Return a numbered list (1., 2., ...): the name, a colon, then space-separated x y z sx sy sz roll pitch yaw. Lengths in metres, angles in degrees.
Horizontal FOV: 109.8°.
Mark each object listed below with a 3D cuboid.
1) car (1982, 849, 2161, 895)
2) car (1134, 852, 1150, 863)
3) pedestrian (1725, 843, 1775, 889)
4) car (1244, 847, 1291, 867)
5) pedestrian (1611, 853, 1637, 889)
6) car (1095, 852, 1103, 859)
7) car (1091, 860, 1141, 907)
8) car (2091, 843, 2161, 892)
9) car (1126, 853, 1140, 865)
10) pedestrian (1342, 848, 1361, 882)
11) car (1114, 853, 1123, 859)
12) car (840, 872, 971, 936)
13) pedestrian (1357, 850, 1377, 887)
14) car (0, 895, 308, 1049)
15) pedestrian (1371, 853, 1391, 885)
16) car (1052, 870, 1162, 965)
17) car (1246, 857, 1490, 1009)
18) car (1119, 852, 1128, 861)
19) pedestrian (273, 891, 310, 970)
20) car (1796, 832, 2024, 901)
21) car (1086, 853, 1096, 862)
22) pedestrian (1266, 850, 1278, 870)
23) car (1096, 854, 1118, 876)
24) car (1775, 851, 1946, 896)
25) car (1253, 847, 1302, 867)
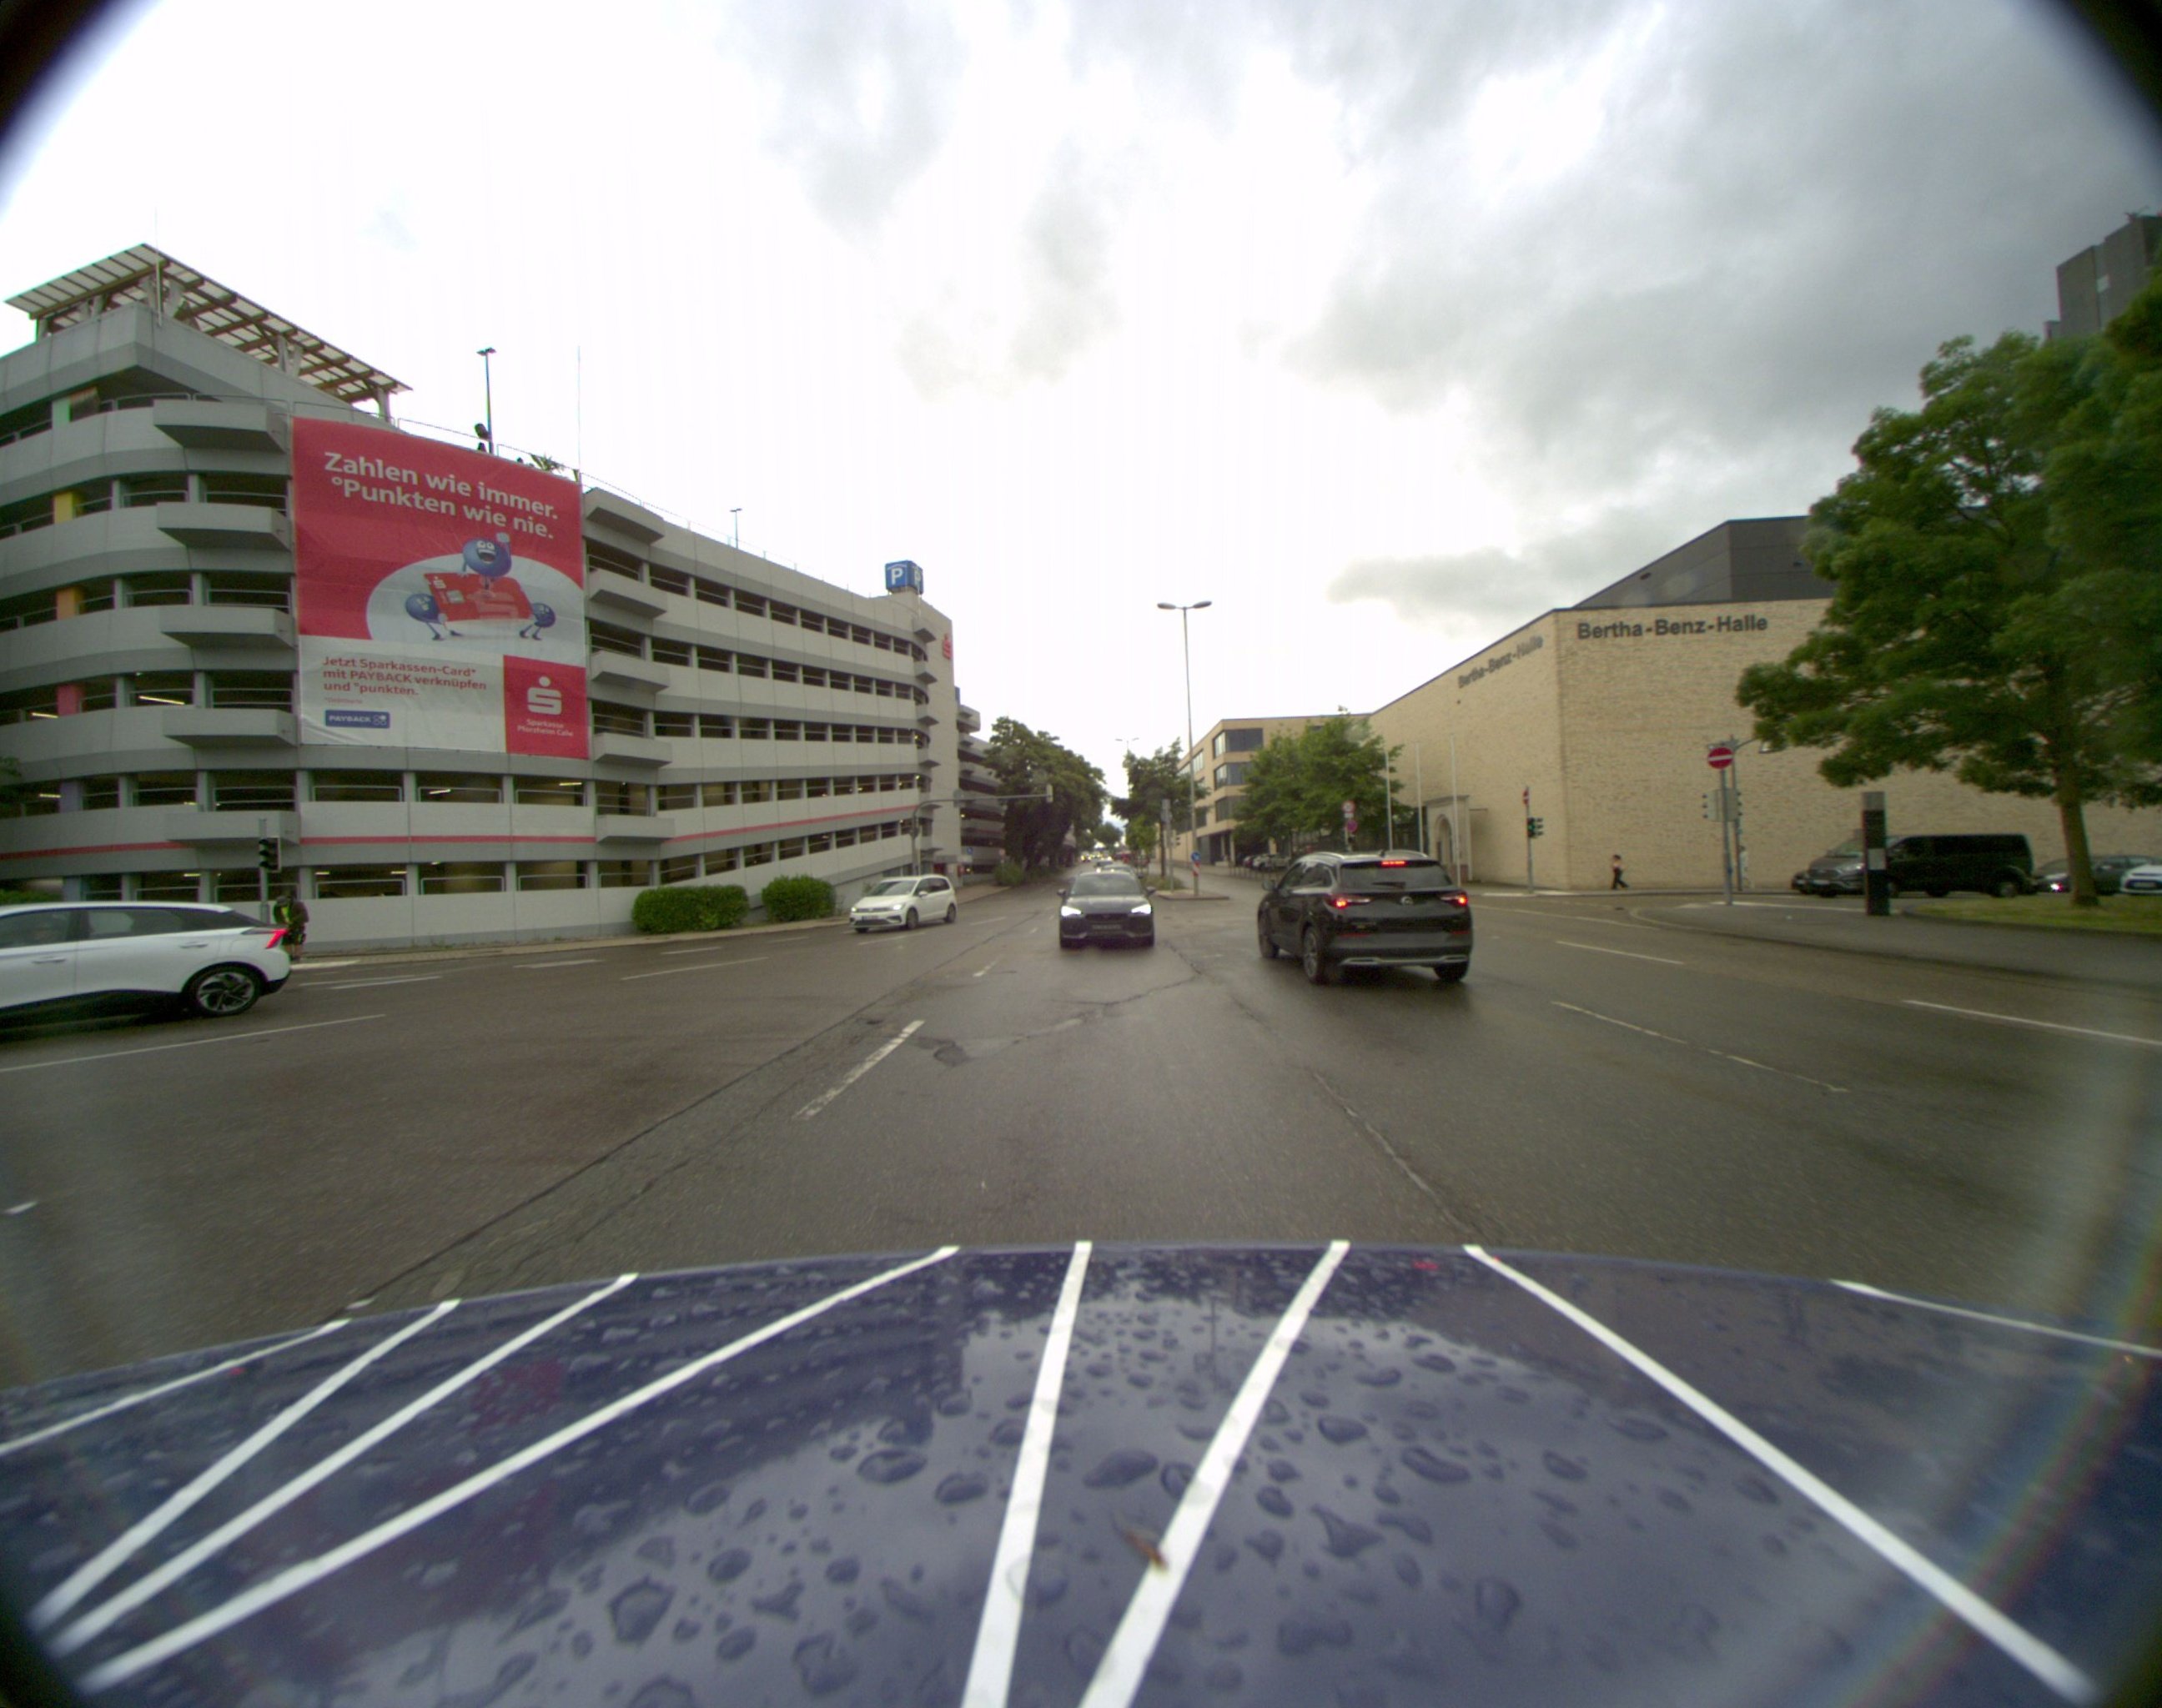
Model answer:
1. car: 34.096 0.601 26.046 3.997 1.449 2.000 1 0 0
2. car: 8.064 0.467 101.024 1.675 1.461 4.300 0 0 -1
3. pedestrian: 25.887 0.472 29.421 1.113 1.690 0.807 -4 0 -1
4. car: 17.741 0.248 72.398 3.995 1.575 2.001 -4 0 5
5. pedestrian: 21.417 0.678 29.970 0.622 1.368 0.475 -4 0 2
6. car: 4.811 0.327 200.665 1.998 1.716 4.401 -2 -1 1
7. car: 1.382 1.167 31.326 1.846 1.646 4.000 -4 0 1
8. car: 33.661 0.433 22.801 3.997 1.449 2.000 1 0 0
9. car: 8.205 0.848 121.119 1.855 1.841 4.300 0 0 -1
10. pedestrian: 14.025 0.580 39.455 0.595 1.721 0.692 -4 0 -4
11. car: 9.187 0.545 187.361 2.028 1.598 4.300 0 0 -1
12. car: -5.317 1.481 23.734 1.996 1.716 4.406 -2 -1 17
13. pedestrian: 13.798 0.701 36.649 0.595 1.761 0.692 -4 0 0
14. car: -11.980 1.366 8.517 1.802 1.468 4.216 -5 -2 25
15. pedestrian: 15.030 0.744 38.090 0.595 1.507 0.692 -4 0 0
16. car: 0.369 1.107 14.916 1.739 1.380 4.582 -4 0 -2
17. car: 3.590 0.874 10.431 1.812 1.585 4.296 -2 0 2
18. car: 8.456 0.523 151.525 1.675 1.598 4.300 0 0 -1
19. pedestrian: -19.447 1.861 18.727 0.546 1.879 0.506 1 -1 -39
20. car: 24.941 0.373 22.984 4.789 1.914 2.000 1 0 -2
21. car: 2.081 0.764 160.473 1.998 1.716 4.401 -2 -1 1
22. pedestrian: 16.556 0.494 66.002 0.804 1.637 0.976 -4 0 7
23. car: 2.360 0.997 69.169 1.804 1.817 3.950 -5 0 2
24. car: 26.918 0.653 26.327 3.998 1.433 1.999 1 0 -3
25. car: 18.055 0.264 69.934 3.995 1.575 2.001 -4 0 5
